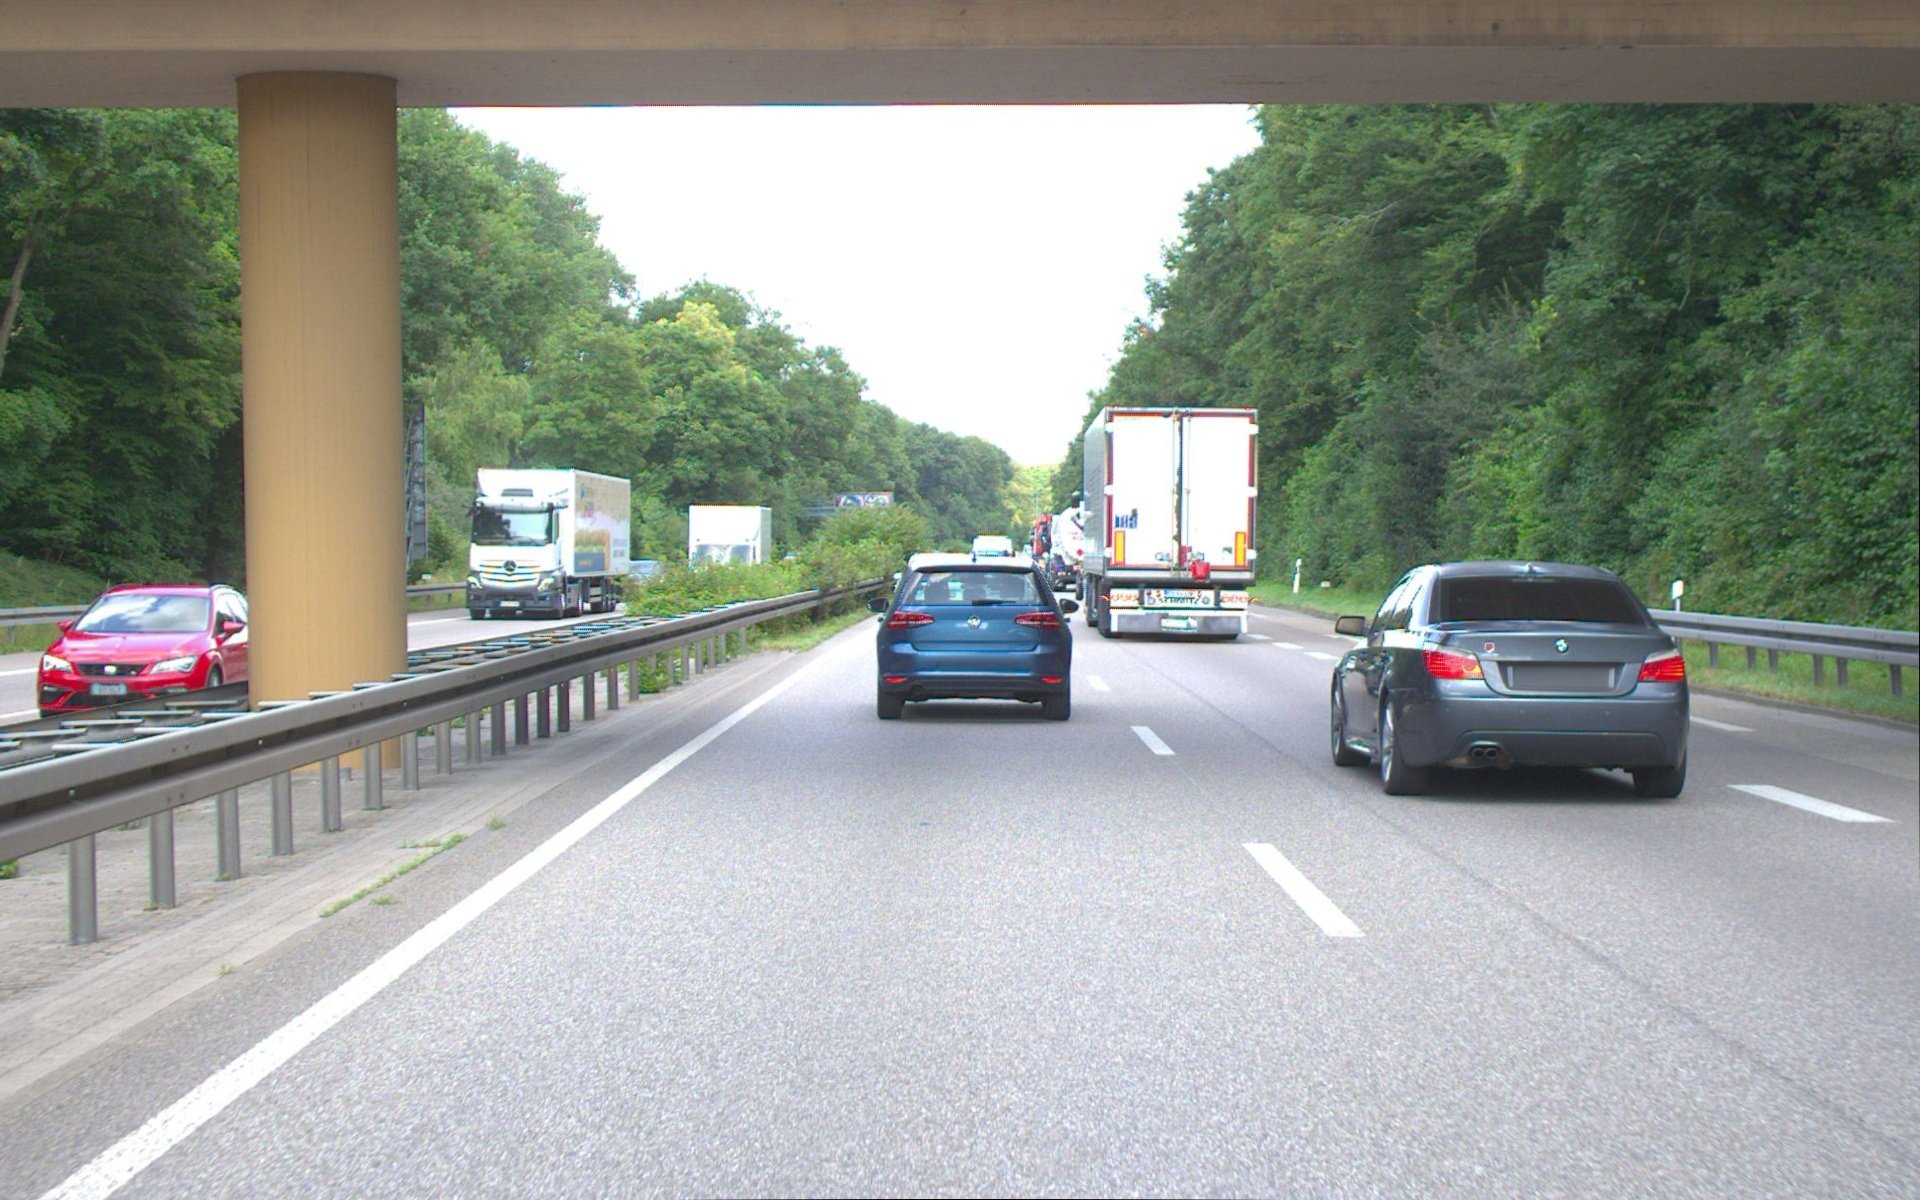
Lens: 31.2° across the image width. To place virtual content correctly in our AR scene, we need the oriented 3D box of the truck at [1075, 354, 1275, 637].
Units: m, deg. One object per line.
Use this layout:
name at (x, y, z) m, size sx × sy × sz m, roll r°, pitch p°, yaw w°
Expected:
truck at (3.782, -1.857, 63.095) m, size 3.242 × 4.700 × 11.006 m, roll -1°, pitch 1°, yaw 2°

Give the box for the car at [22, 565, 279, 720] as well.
car at (-8.409, 0.398, 36.060) m, size 1.685 × 1.471 × 4.437 m, roll -1°, pitch 1°, yaw -1°

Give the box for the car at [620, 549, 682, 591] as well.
car at (-11.067, -1.095, 123.384) m, size 1.734 × 1.468 × 4.470 m, roll -1°, pitch 1°, yaw 1°

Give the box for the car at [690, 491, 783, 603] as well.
car at (-6.681, -1.597, 103.572) m, size 2.288 × 3.221 × 7.287 m, roll -1°, pitch 1°, yaw 0°

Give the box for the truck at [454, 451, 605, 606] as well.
truck at (-11.500, -1.911, 92.455) m, size 3.040 × 3.973 × 6.748 m, roll -1°, pitch 1°, yaw 1°

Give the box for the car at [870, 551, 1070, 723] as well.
car at (0.100, 0.291, 31.707) m, size 1.705 × 1.465 × 4.000 m, roll 1°, pitch 1°, yaw 0°

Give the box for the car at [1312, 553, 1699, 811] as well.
car at (3.419, 0.443, 22.411) m, size 1.774 × 1.470 × 4.880 m, roll 1°, pitch 1°, yaw 1°

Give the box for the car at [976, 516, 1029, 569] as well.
car at (1.633, -2.246, 133.488) m, size 1.954 × 2.007 × 4.000 m, roll -1°, pitch 1°, yaw 0°

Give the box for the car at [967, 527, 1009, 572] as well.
car at (1.408, -2.613, 177.403) m, size 1.993 × 2.247 × 4.442 m, roll -1°, pitch 1°, yaw -1°

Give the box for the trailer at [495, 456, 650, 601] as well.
trailer at (-11.264, -2.082, 100.872) m, size 3.060 × 4.028 × 9.974 m, roll -1°, pitch 1°, yaw 2°

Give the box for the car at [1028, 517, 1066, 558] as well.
car at (5.031, -3.648, 199.616) m, size 1.993 × 2.320 × 4.442 m, roll -1°, pitch 1°, yaw -1°

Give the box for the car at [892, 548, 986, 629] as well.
car at (-0.369, -0.243, 65.516) m, size 1.665 × 1.495 × 4.152 m, roll 0°, pitch 1°, yaw 1°

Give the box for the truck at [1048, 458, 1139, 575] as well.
truck at (5.198, -3.200, 135.918) m, size 3.232 × 4.371 × 12.970 m, roll 0°, pitch 0°, yaw 1°

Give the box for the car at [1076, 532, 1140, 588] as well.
car at (4.660, -1.277, 108.638) m, size 1.888 × 1.723 × 4.000 m, roll -1°, pitch 1°, yaw 1°
